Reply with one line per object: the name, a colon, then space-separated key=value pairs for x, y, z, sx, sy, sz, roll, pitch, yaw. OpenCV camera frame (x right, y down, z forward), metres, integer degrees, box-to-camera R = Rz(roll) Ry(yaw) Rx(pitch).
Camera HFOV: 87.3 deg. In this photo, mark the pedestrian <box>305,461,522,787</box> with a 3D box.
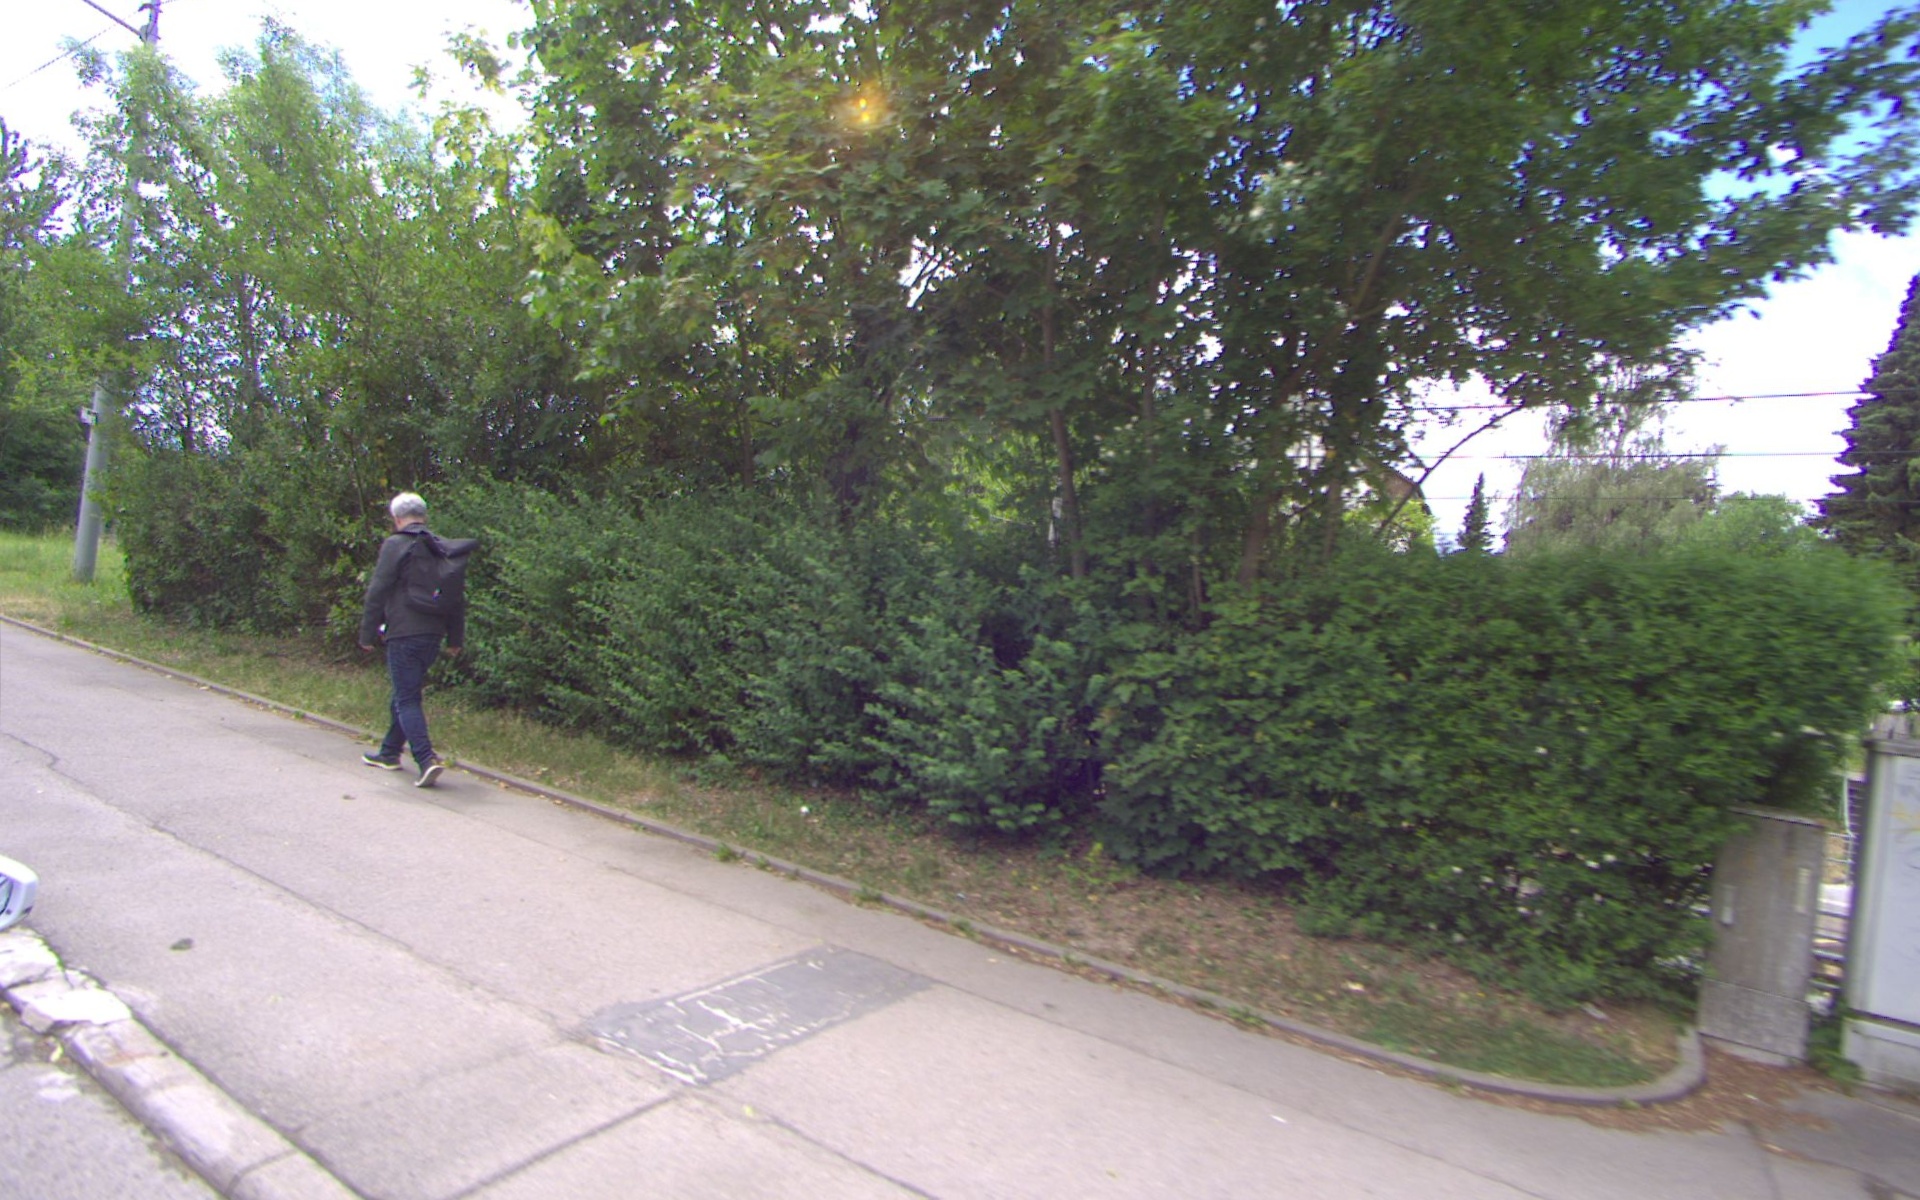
pedestrian: x=-3.454 y=0.148 z=6.371 sx=0.789 sy=1.904 sz=0.745 roll=6 pitch=-1 yaw=37
